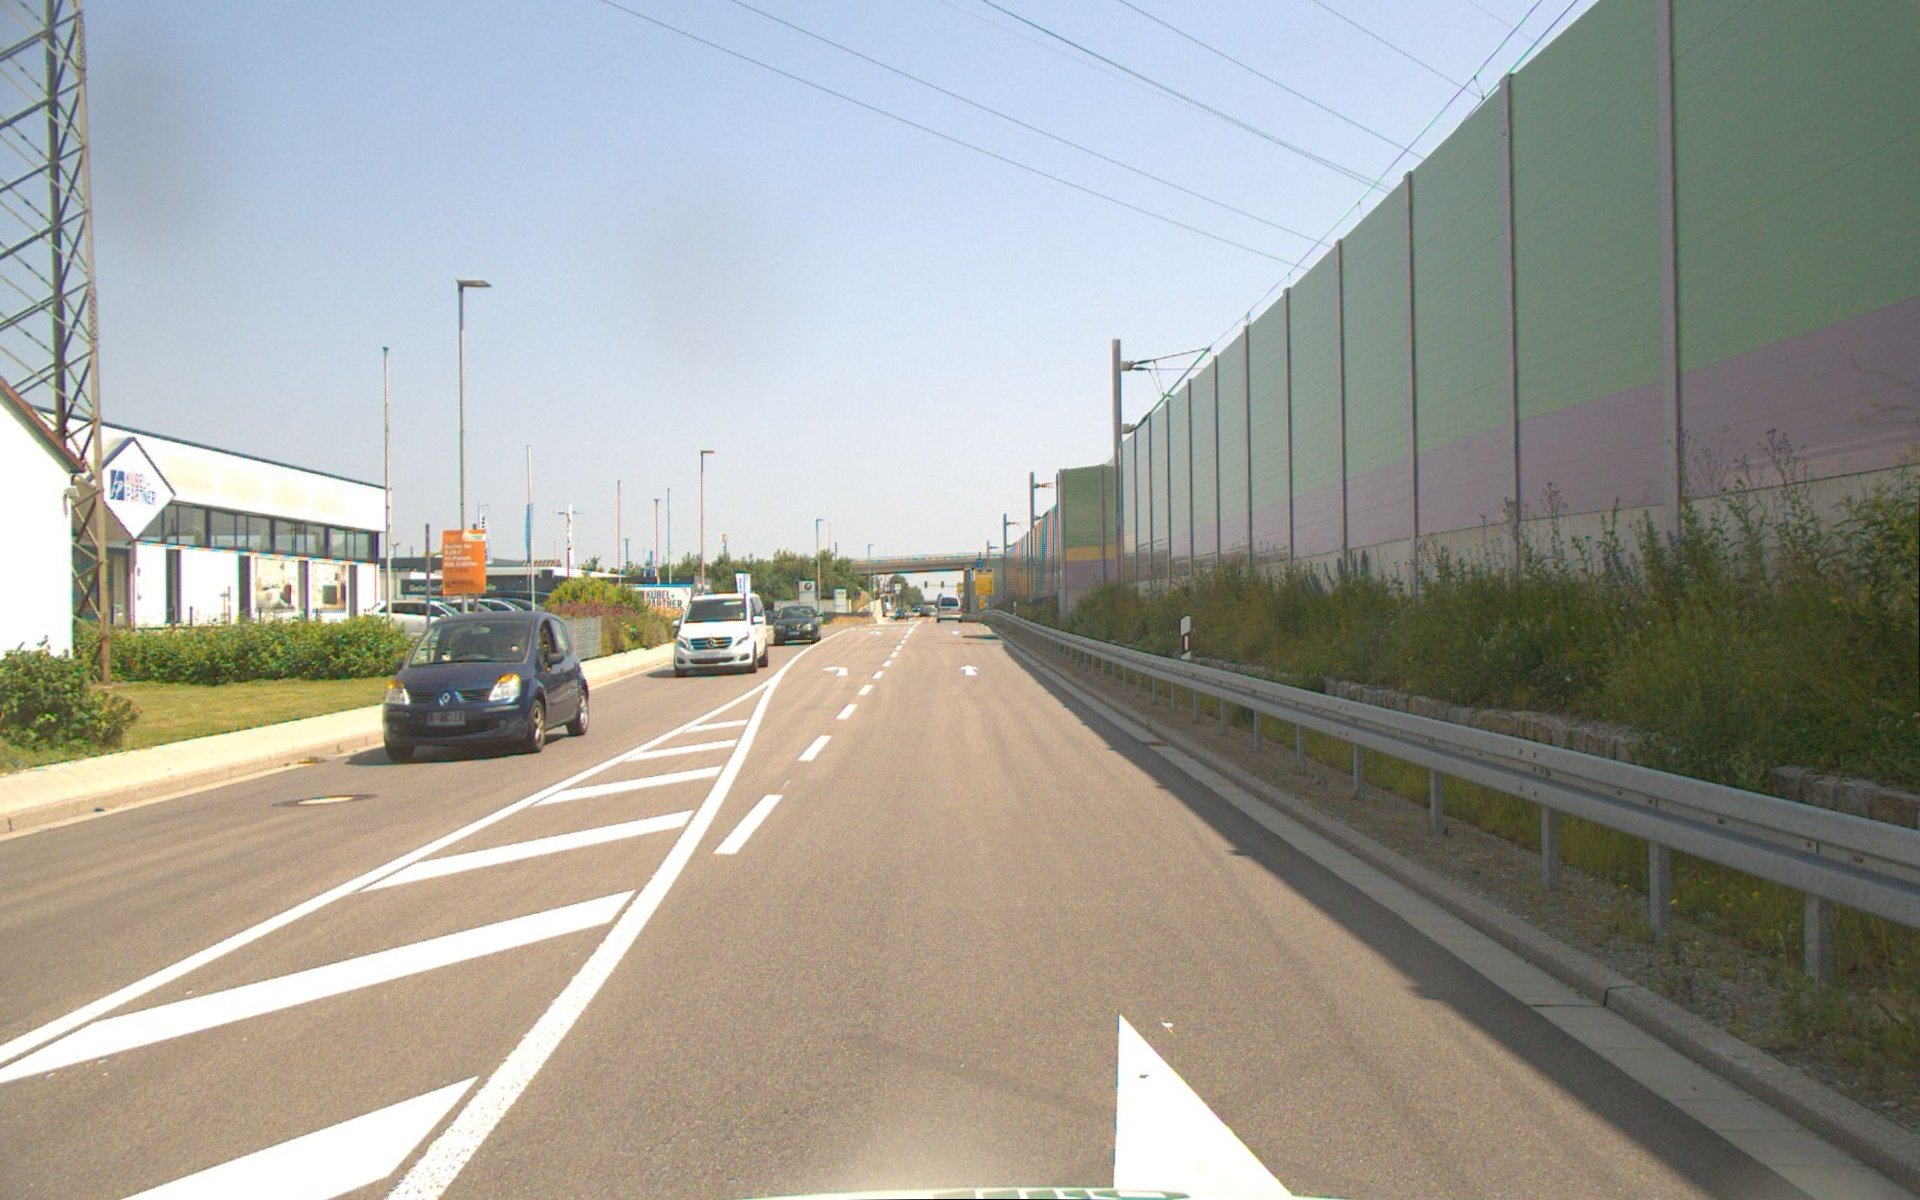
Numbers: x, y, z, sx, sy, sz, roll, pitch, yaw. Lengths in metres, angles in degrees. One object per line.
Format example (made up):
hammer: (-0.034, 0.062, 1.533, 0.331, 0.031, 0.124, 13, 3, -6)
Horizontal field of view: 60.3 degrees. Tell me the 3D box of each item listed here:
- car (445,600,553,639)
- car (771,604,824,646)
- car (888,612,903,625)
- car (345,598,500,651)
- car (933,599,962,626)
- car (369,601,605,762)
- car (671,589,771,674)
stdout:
car: (-16.623, 0.684, 59.729, 3.439, 1.276, 1.504, 2, 0, -3)
car: (-6.071, 0.926, 62.088, 1.637, 1.448, 3.999, -3, 0, -1)
car: (-9.077, 2.555, 233.022, 1.839, 1.702, 4.290, -1, 0, -1)
car: (-16.460, 0.734, 50.774, 4.139, 1.481, 1.763, 2, 0, -3)
car: (-0.850, 0.883, 114.749, 1.952, 1.788, 4.000, -1, 0, 1)
car: (-5.435, 0.870, 19.520, 1.635, 1.628, 3.972, -3, 0, -1)
car: (-5.831, 0.751, 40.915, 1.954, 1.907, 5.165, -2, 0, -4)
